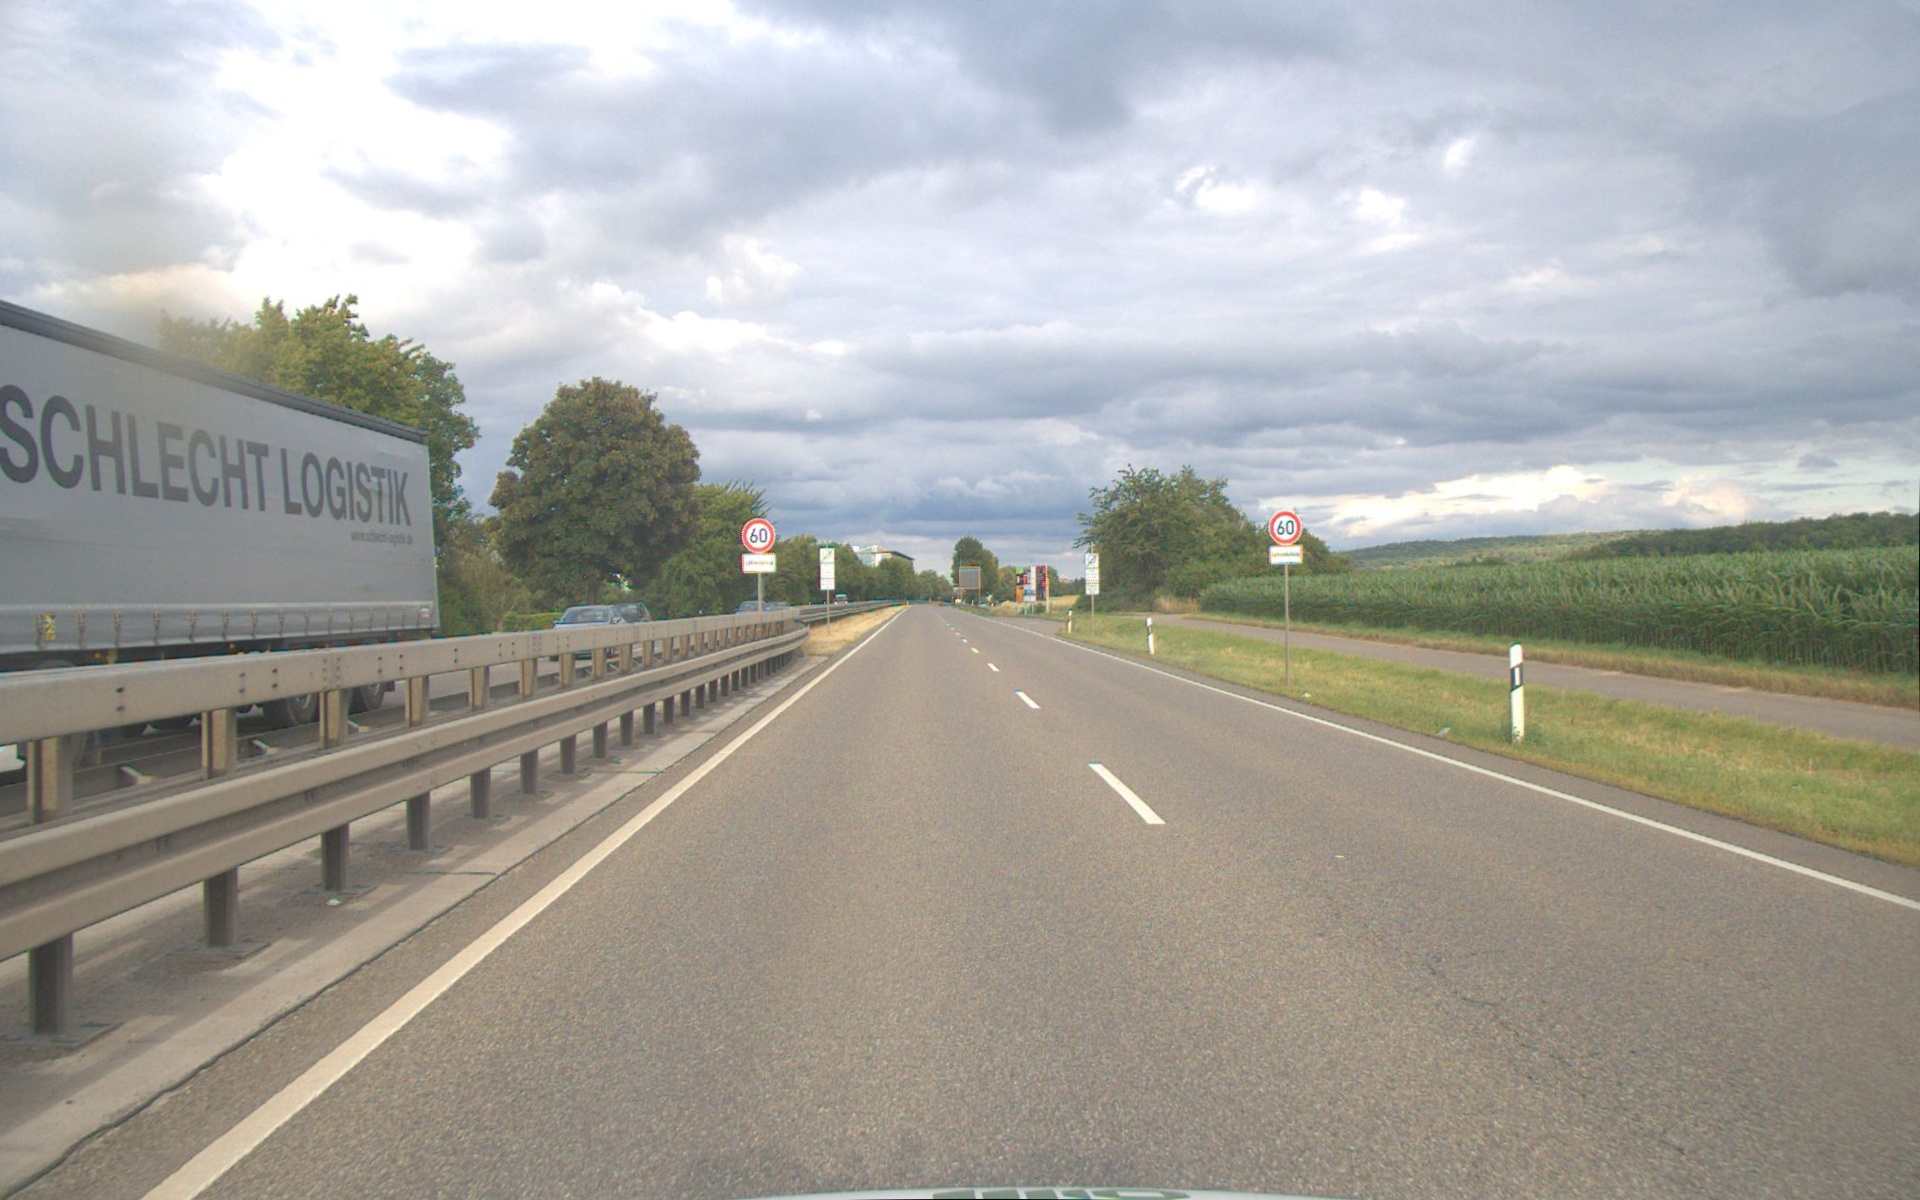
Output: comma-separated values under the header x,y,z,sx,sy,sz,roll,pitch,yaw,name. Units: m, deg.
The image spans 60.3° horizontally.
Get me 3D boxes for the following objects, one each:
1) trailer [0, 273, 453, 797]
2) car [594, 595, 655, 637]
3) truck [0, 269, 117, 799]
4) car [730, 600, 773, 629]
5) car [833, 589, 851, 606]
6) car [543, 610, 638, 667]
x,y,z,sx,sy,sz,roll,pitch,yaw,name
-9.536,-0.478,18.826,3.395,4.222,13.912,-3,0,-1,trailer
-13.802,0.627,68.210,1.753,1.601,4.159,-2,0,-2,car
-9.287,-0.459,11.766,3.405,4.222,6.048,-3,0,-2,truck
-11.607,0.802,92.330,1.829,1.503,4.824,-2,0,-2,car
-16.004,-0.335,223.818,1.953,2.178,5.318,-2,0,0,car
-10.170,1.024,45.809,1.753,1.410,4.159,-2,0,-2,car
